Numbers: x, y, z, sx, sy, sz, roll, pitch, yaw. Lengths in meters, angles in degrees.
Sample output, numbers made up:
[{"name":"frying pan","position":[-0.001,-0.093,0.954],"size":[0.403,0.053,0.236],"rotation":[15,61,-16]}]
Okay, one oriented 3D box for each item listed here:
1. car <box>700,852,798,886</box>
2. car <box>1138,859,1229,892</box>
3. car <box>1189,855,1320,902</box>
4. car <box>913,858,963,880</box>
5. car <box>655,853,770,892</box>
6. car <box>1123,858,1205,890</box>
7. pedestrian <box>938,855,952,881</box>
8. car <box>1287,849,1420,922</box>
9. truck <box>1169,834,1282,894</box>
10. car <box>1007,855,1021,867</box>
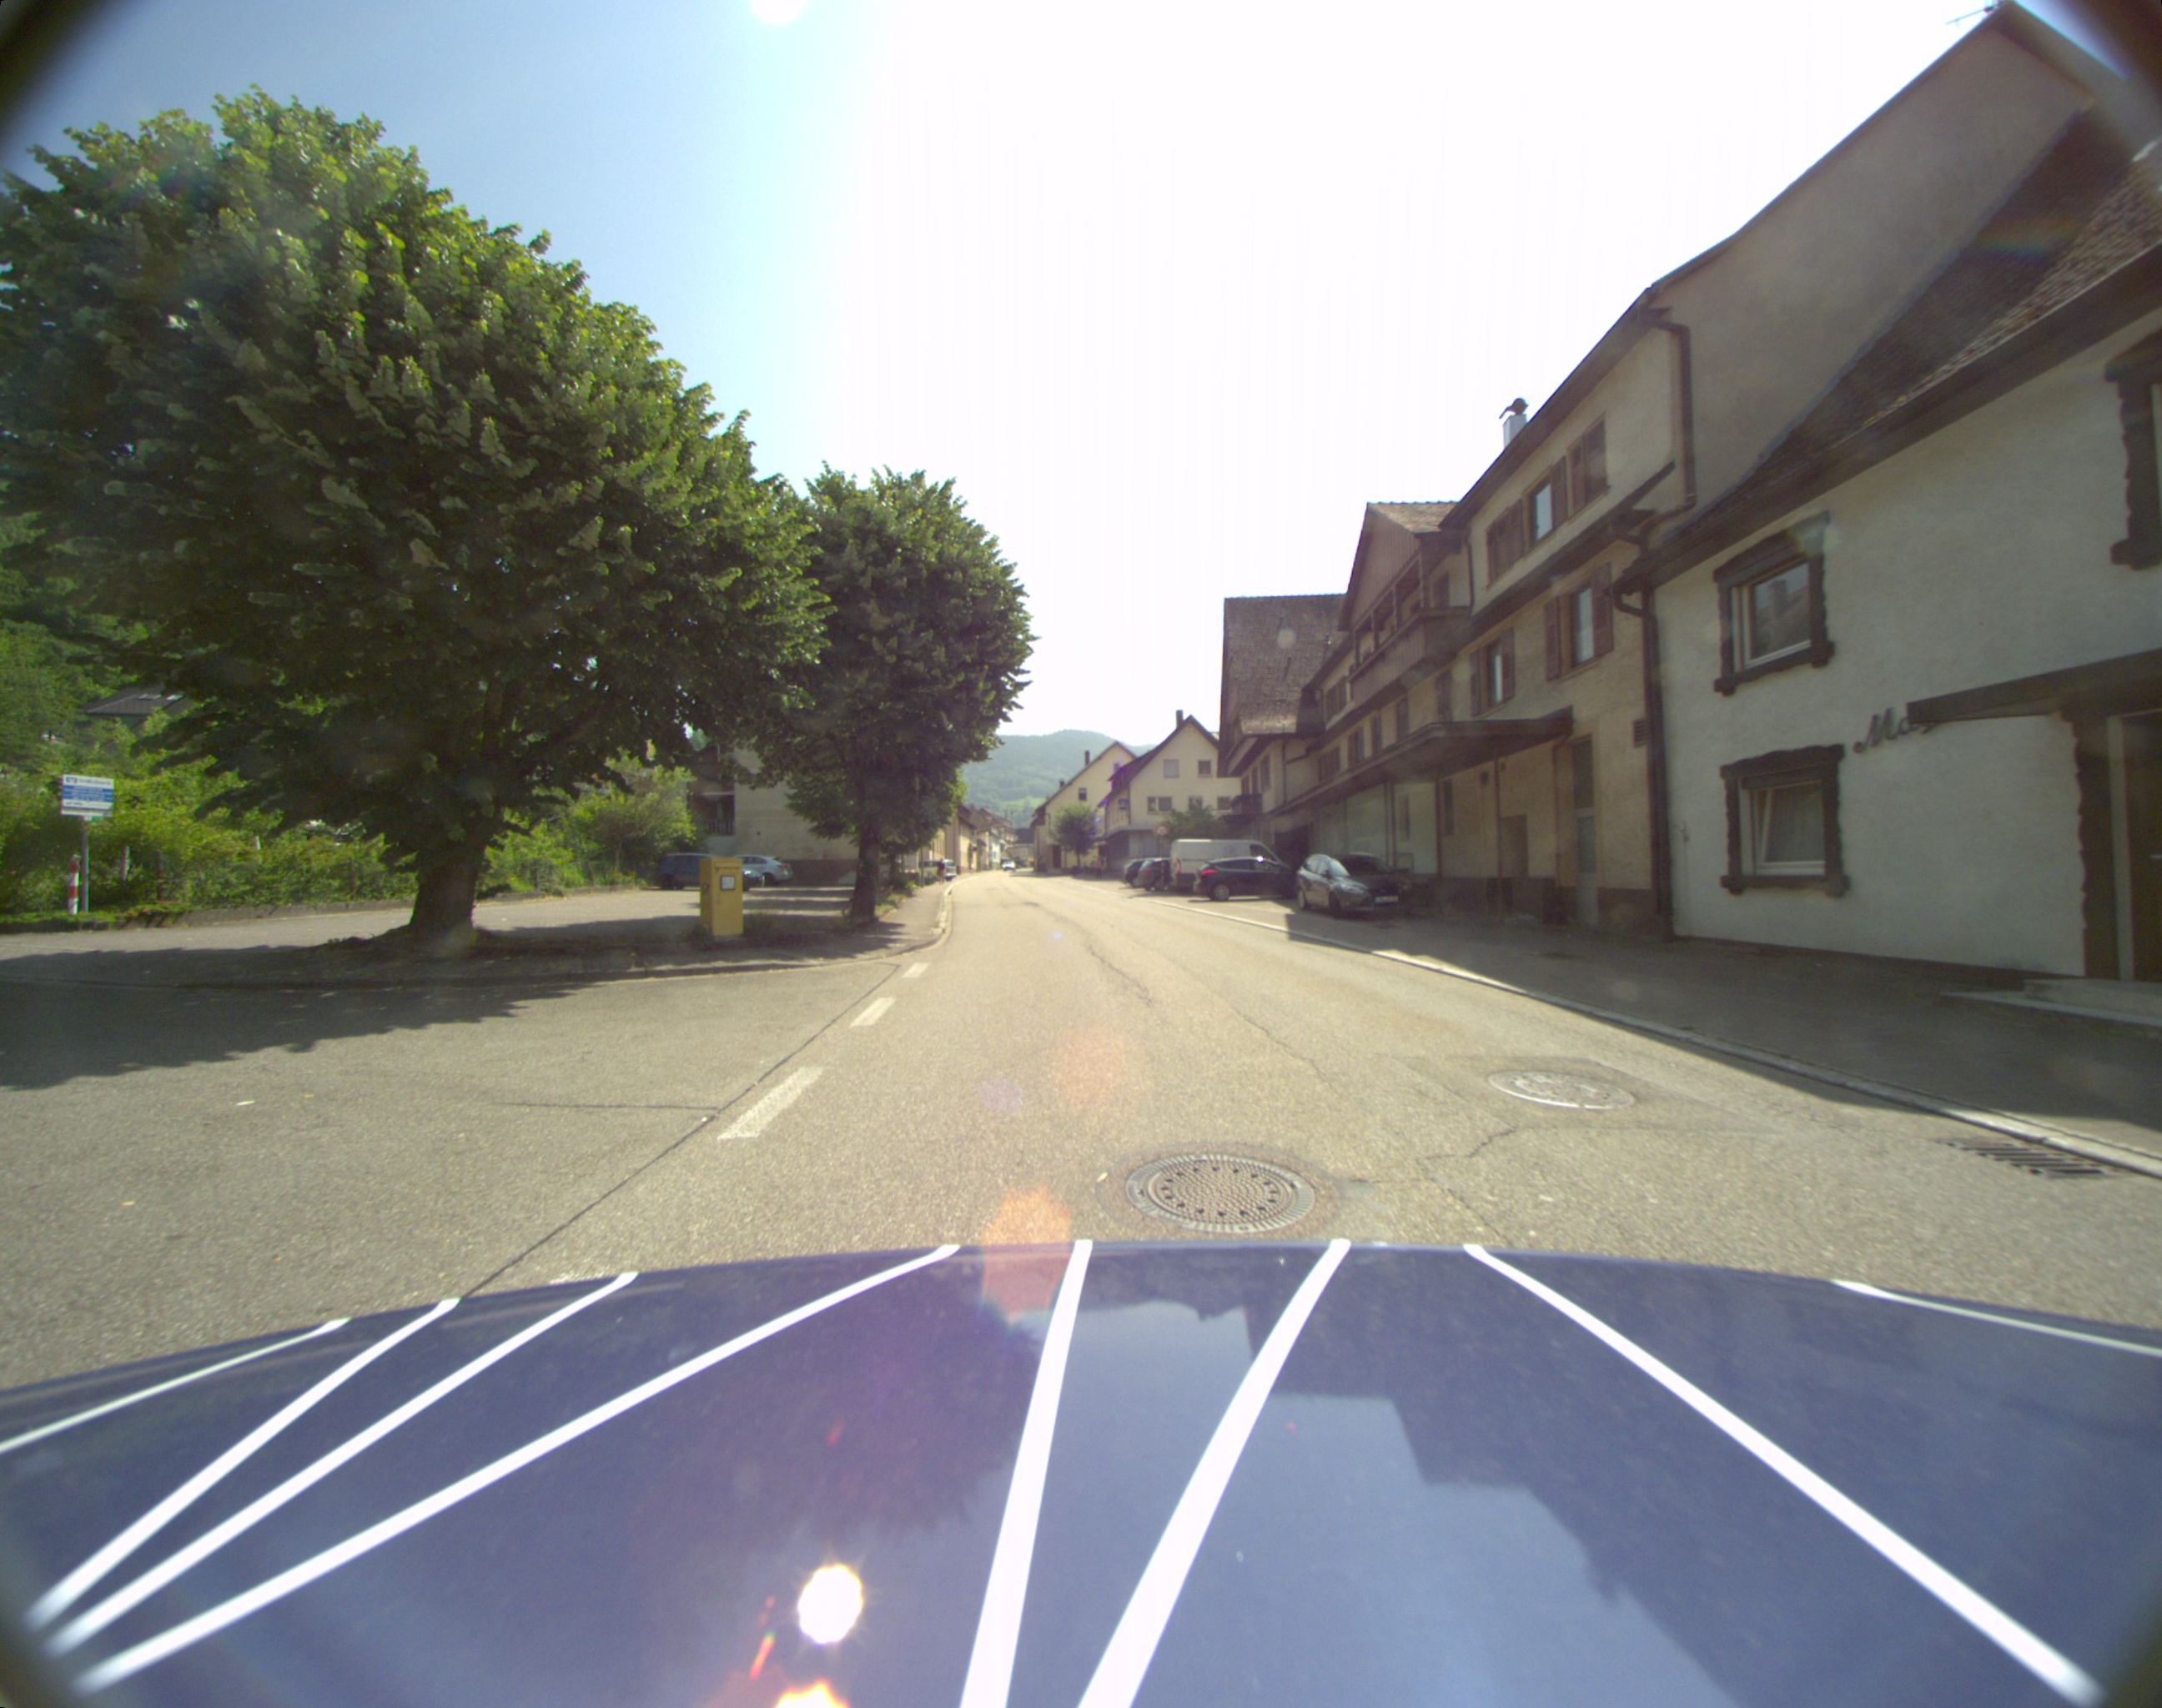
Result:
[{"name":"car","position":[-15.568,0.685,35.812],"size":[3.950,1.462,1.653],"rotation":[2,0,-12]},{"name":"car","position":[4.696,0.966,35.119],"size":[3.997,1.444,1.627],"rotation":[1,0,-1]},{"name":"car","position":[5.896,0.824,26.164],"size":[4.104,1.494,1.754],"rotation":[-1,0,2]},{"name":"car","position":[-10.786,1.114,57.449],"size":[3.339,1.587,1.653],"rotation":[1,0,16]},{"name":"car","position":[-14.752,0.735,30.581],"size":[3.846,1.398,1.565],"rotation":[2,0,-11]},{"name":"car","position":[4.164,0.984,38.245],"size":[3.995,1.563,1.577],"rotation":[1,0,5]},{"name":"pedestrian","position":[-8.699,0.892,48.605],"size":[0.682,1.661,0.712],"rotation":[1,0,3]},{"name":"car","position":[6.590,0.708,18.889],"size":[1.774,1.544,4.286],"rotation":[-2,0,1]},{"name":"truck","position":[5.852,0.386,31.186],"size":[4.177,2.253,2.000],"rotation":[-2,0,-2]},{"name":"car","position":[-12.055,1.271,136.898],"size":[1.998,2.002,4.000],"rotation":[-3,0,0]}]
